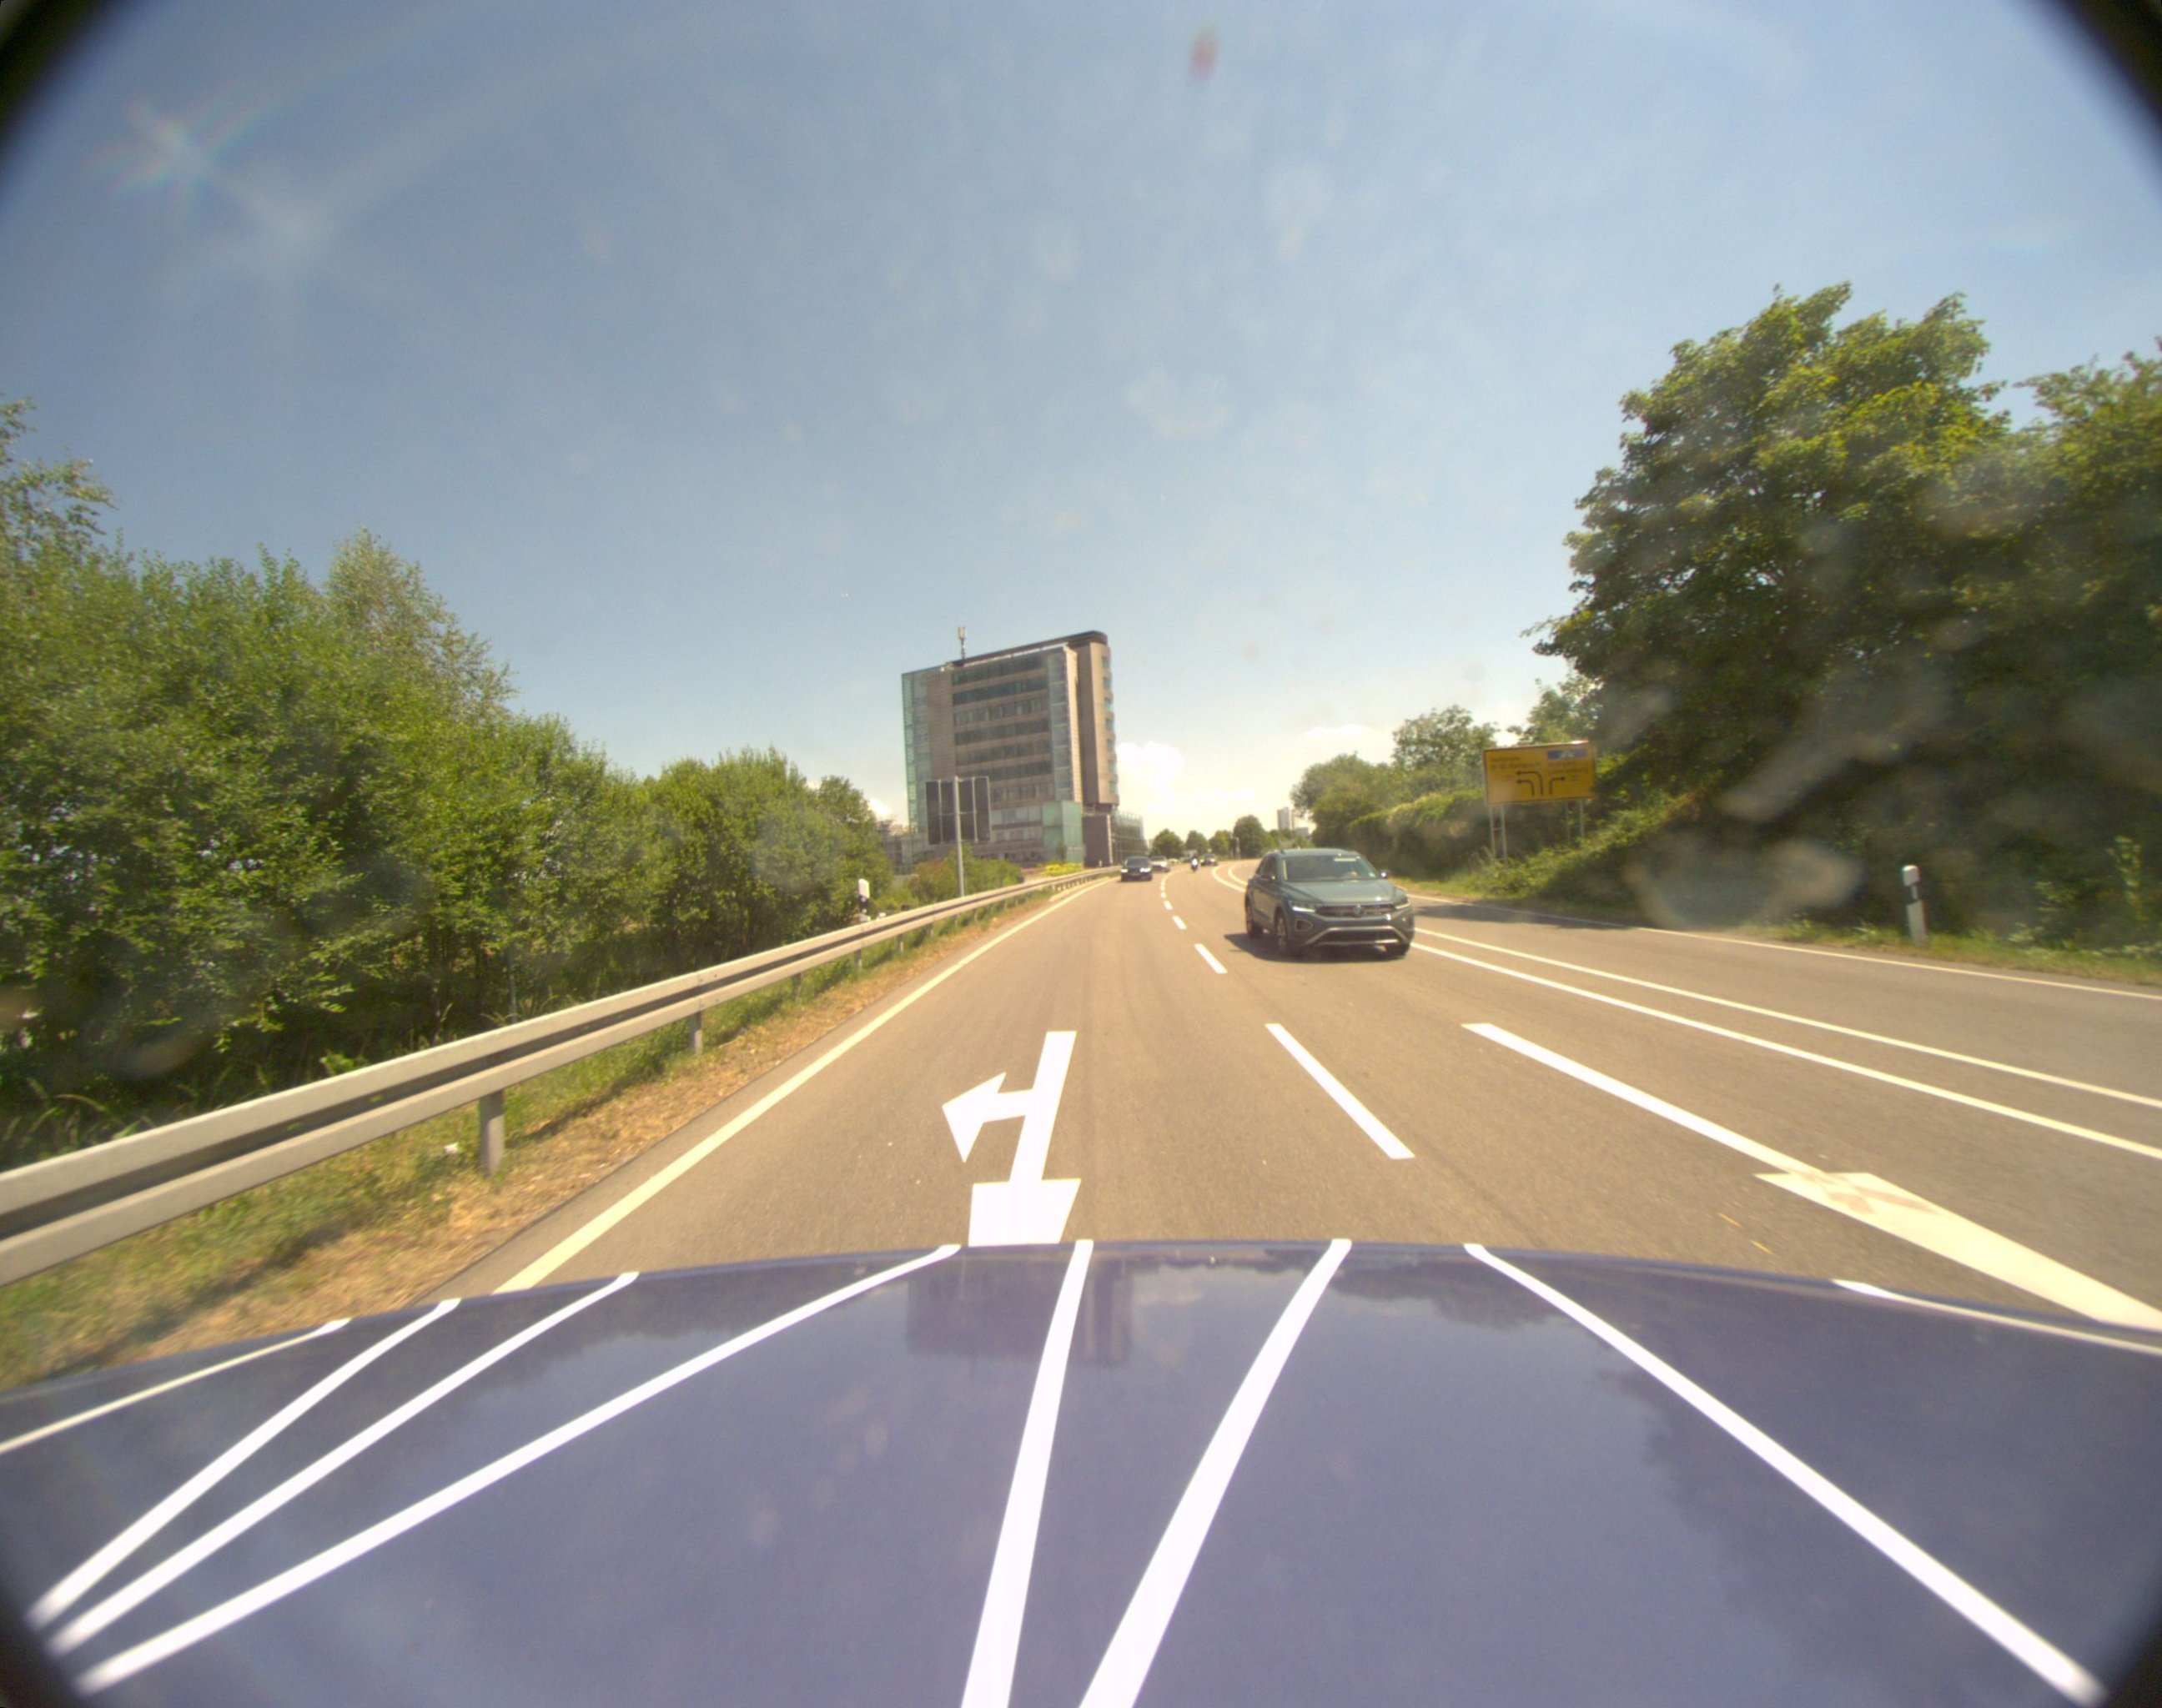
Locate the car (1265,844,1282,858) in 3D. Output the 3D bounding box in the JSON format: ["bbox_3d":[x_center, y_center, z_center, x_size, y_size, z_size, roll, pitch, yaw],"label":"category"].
[{"bbox_3d":[24.409,-0.387,96.129,1.996,1.619,4.201,-2,0,14],"label":"car"}]

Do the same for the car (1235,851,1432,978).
[{"bbox_3d":[3.715,0.781,12.040,1.839,1.577,4.392,-2,0,4],"label":"car"}]

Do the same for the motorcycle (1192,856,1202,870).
[{"bbox_3d":[9.572,0.721,62.735,0.733,1.131,2.074,-1,0,8],"label":"motorcycle"}]

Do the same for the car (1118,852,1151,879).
[{"bbox_3d":[3.305,0.692,46.042,1.779,1.497,4.563,-2,0,6],"label":"car"}]

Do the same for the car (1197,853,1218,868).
[{"bbox_3d":[15.272,0.789,91.606,2.115,1.582,4.454,-3,0,13],"label":"car"}]

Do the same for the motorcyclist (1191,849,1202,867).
[{"bbox_3d":[9.549,0.350,62.676,0.860,1.479,1.162,-1,0,8],"label":"motorcyclist"}]

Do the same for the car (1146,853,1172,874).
[{"bbox_3d":[6.915,0.869,67.224,1.932,1.576,4.183,-5,-2,9],"label":"car"}]
